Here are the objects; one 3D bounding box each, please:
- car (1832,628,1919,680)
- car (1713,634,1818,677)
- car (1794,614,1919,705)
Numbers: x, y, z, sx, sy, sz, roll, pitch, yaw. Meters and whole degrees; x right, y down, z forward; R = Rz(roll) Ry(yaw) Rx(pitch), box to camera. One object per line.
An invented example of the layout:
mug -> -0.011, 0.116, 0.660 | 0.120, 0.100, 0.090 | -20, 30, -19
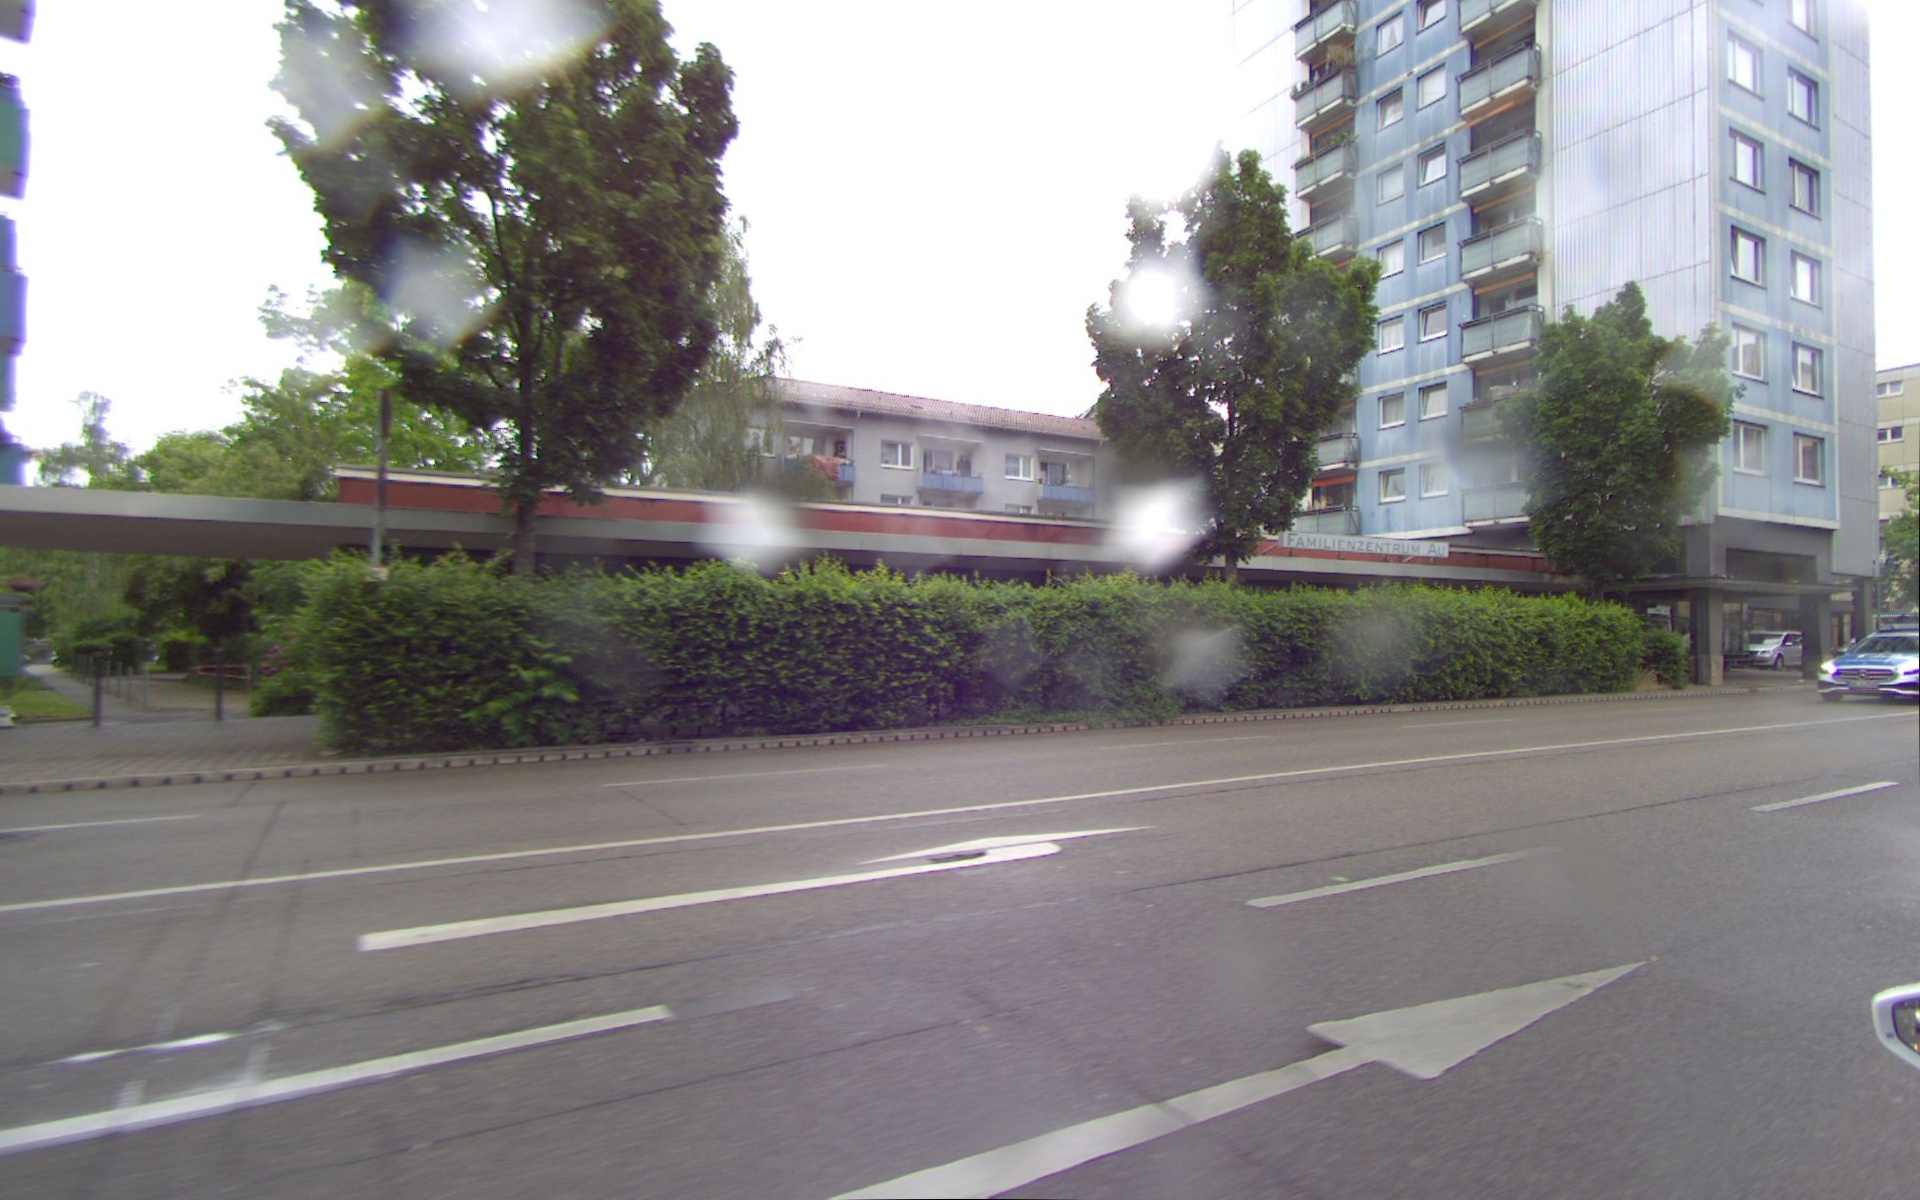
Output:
car -> 32.998, 1.907, 35.853 | 4.236, 1.728, 1.532 | 2, -1, -30
car -> 33.480, 2.278, 41.753 | 4.459, 1.676, 1.984 | 2, -2, -31
car -> 20.265, 1.246, 21.646 | 4.750, 1.772, 1.985 | 1, -3, -30
